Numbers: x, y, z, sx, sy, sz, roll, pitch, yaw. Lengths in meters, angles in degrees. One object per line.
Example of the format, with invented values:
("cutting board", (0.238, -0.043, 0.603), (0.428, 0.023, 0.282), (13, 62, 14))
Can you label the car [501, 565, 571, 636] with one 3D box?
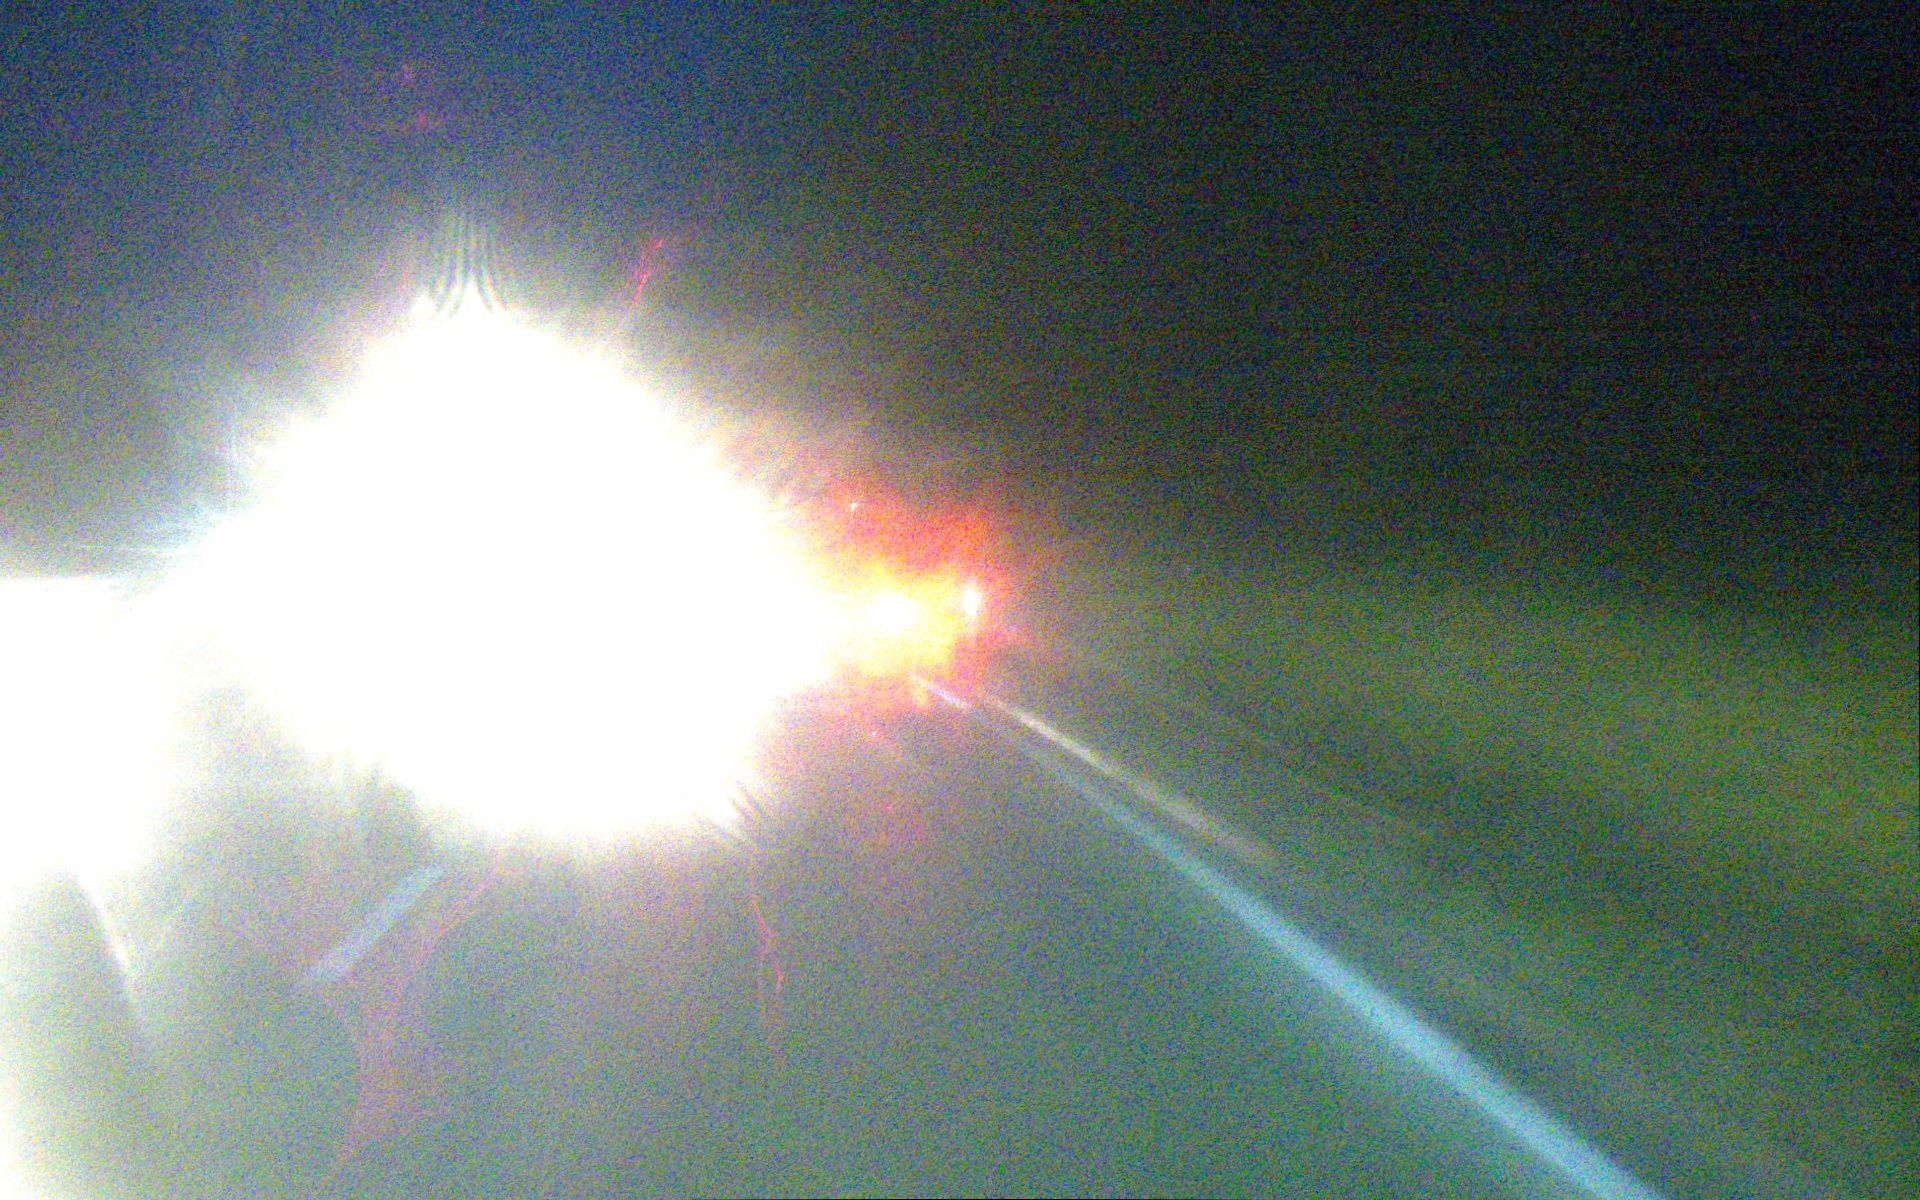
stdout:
("car", (-12.693, -0.010, 102.995), (1.993, 2.007, 4.457), (-1, 1, -7))

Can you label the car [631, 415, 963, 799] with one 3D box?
("car", (-1.302, -0.010, 25.916), (2.180, 2.548, 4.509), (2, 1, -5))

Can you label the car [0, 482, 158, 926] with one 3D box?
("car", (-4.120, 0.368, 12.599), (1.563, 1.520, 3.486), (-3, 2, -2))
